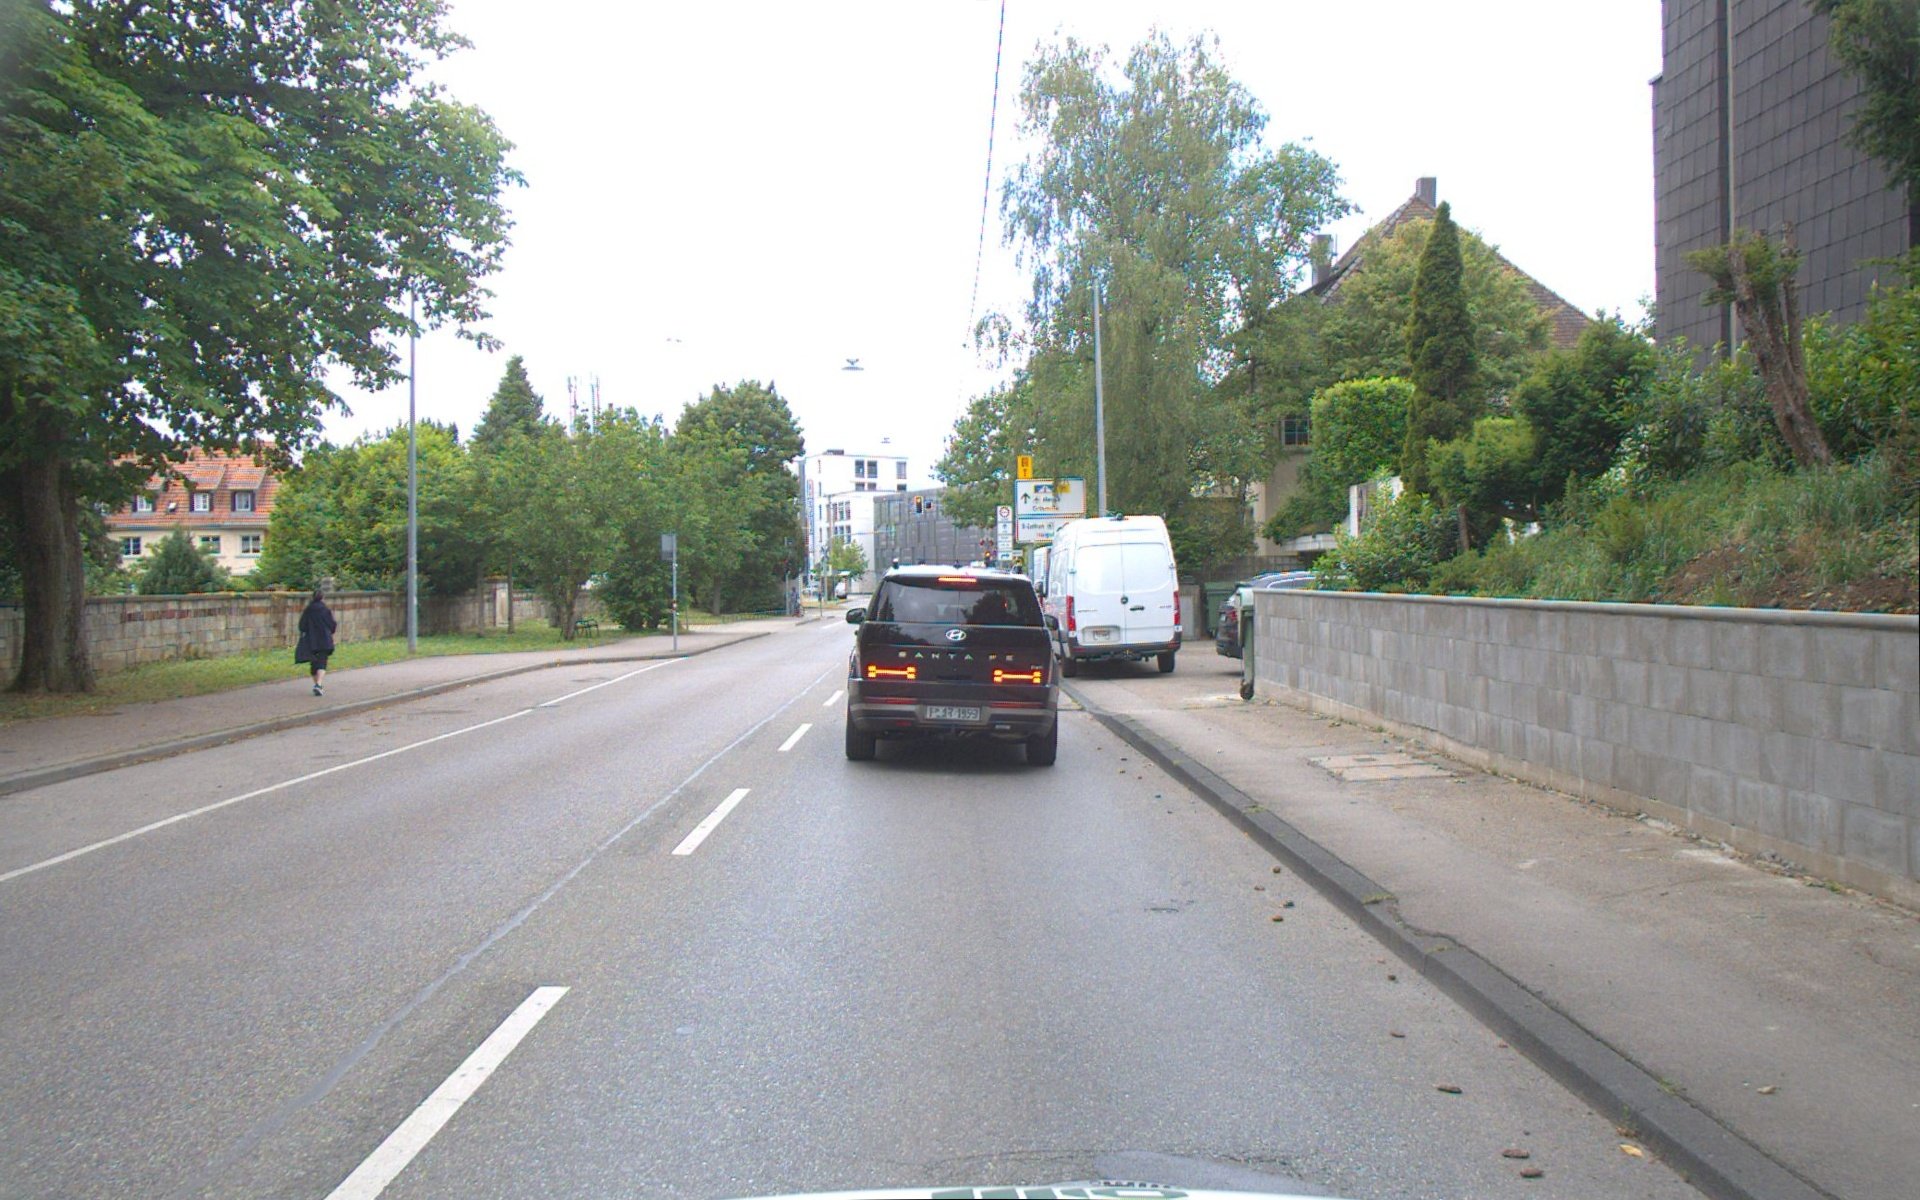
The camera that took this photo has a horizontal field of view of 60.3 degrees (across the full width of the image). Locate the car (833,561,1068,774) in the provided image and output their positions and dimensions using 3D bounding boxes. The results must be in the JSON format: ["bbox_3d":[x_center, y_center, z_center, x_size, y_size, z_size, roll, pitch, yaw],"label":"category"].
[{"bbox_3d":[-0.104,0.538,15.592,1.924,1.741,3.999,1,0,-1],"label":"car"}]

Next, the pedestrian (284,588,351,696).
[{"bbox_3d":[-9.797,0.629,25.261,0.734,1.605,0.965,1,0,-8],"label":"pedestrian"}]

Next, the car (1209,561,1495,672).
[{"bbox_3d":[6.450,0.254,27.552,4.304,1.681,1.830,-1,0,0],"label":"car"}]

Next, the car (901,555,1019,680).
[{"bbox_3d":[-0.044,0.270,29.242,1.924,2.036,3.999,1,0,-2],"label":"car"}]

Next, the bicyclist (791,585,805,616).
[{"bbox_3d":[-9.029,0.040,92.141,0.664,1.688,0.855,1,-2,-15],"label":"bicyclist"}]

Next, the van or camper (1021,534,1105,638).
[{"bbox_3d":[2.979,-0.420,49.072,1.924,2.846,5.285,-2,0,-1],"label":"van or camper"}]

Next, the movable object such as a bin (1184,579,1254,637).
[{"bbox_3d":[6.776,0.200,43.335,1.422,1.499,1.715,0,0,-6],"label":"movable object such as a bin"}]

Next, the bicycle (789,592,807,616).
[{"bbox_3d":[-9.030,0.217,92.108,0.664,1.302,2.491,1,-1,-14],"label":"bicycle"}]

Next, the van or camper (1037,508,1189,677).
[{"bbox_3d":[2.650,-0.153,30.240,1.924,2.673,6.357,-3,1,-1],"label":"van or camper"}]

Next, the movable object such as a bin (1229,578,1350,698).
[{"bbox_3d":[4.243,0.476,21.396,1.273,1.476,1.180,-2,0,-1],"label":"movable object such as a bin"}]
